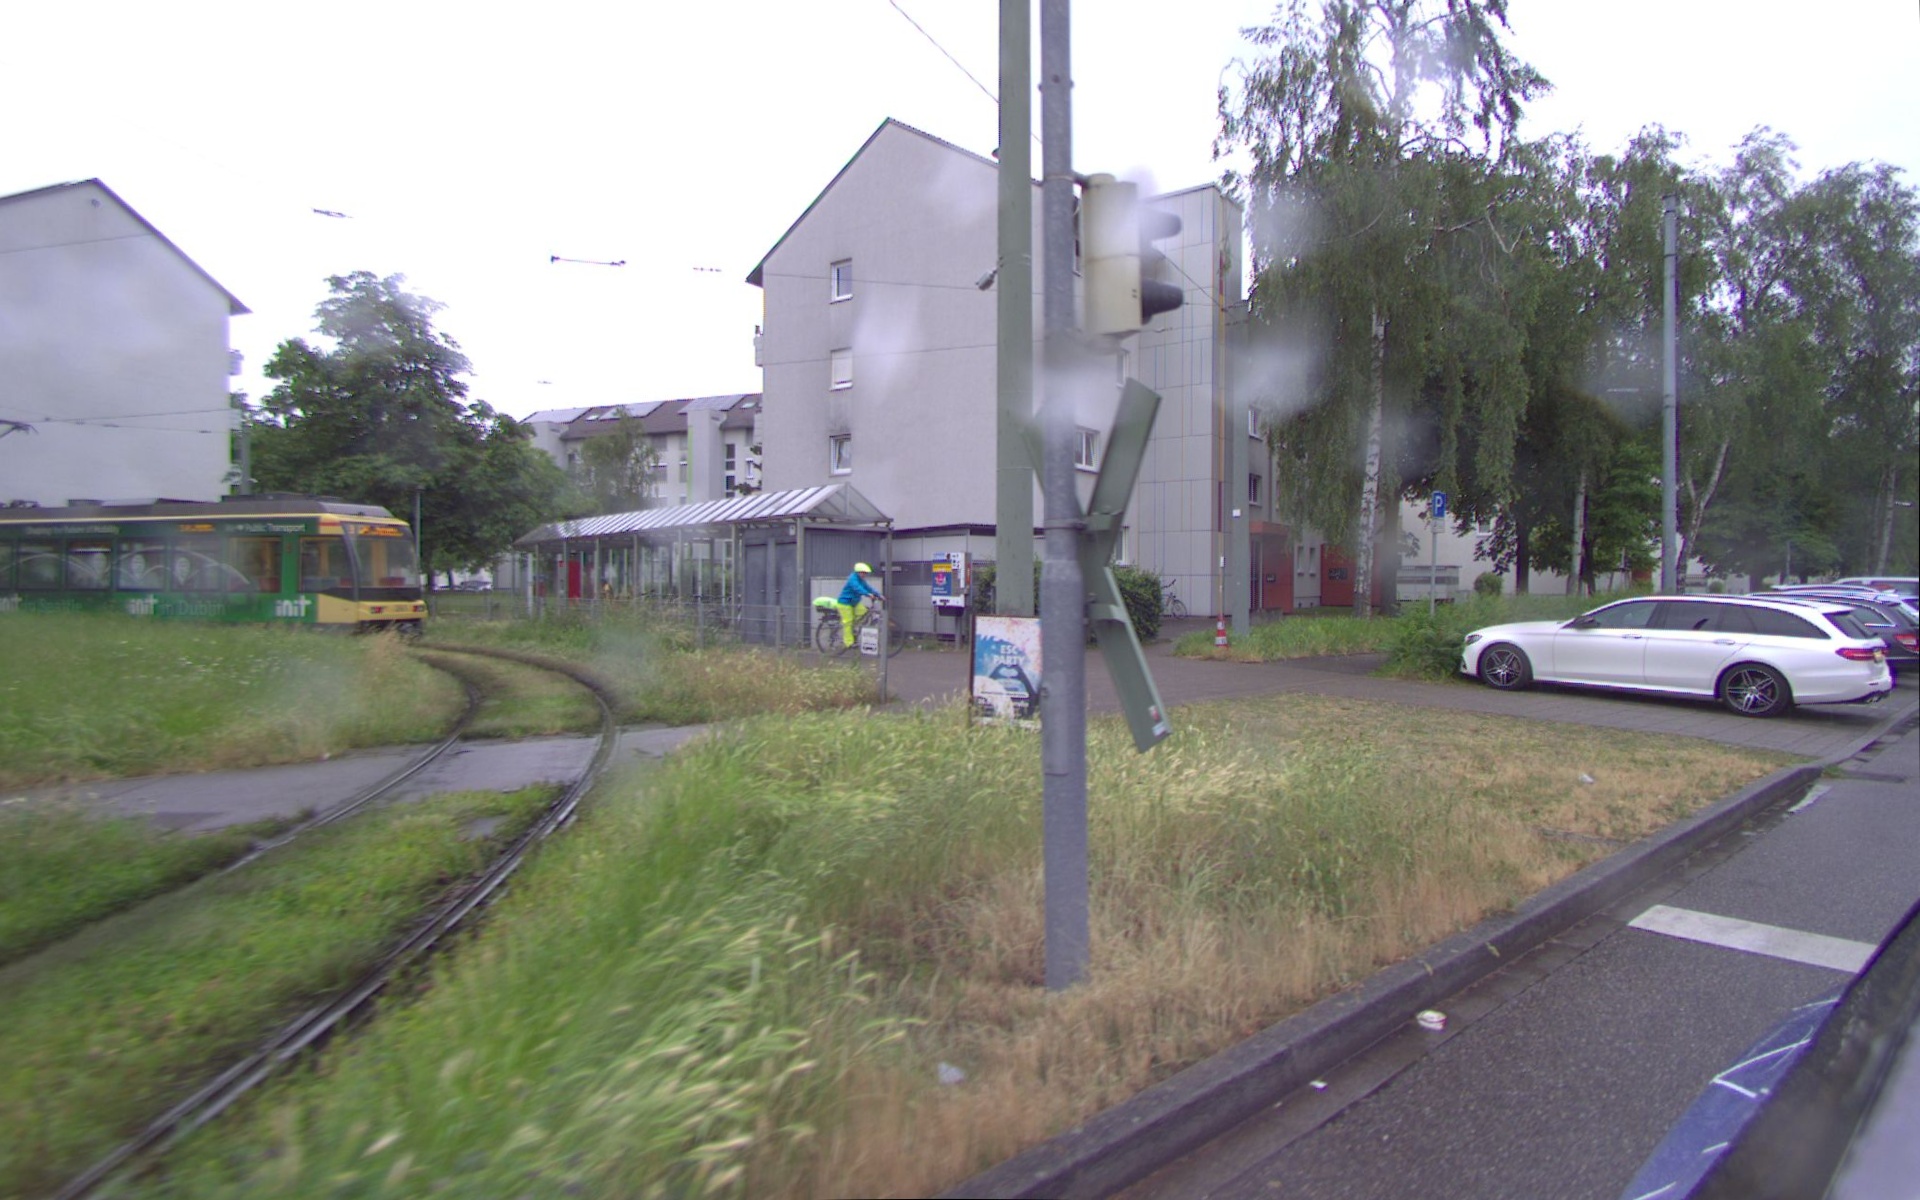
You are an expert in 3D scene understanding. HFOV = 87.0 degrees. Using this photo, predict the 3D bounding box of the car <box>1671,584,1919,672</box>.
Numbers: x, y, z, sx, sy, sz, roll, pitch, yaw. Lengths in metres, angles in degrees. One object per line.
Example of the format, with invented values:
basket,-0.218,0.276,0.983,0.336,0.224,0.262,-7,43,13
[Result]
car,16.232,0.506,19.336,1.692,1.505,3.995,-1,-1,-39

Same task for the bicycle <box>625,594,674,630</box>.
bicycle,-8.549,0.315,27.882,1.215,0.959,0.377,-1,-1,-38

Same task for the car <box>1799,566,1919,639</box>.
car,27.517,0.071,29.548,1.694,2.088,4.434,-1,-1,-43

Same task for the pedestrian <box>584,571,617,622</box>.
pedestrian,-11.472,-0.122,32.313,0.776,1.593,0.635,-1,-1,-42

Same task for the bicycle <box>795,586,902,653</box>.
bicycle,-1.964,0.325,17.827,1.730,1.144,0.724,0,-1,18

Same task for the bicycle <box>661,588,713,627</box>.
bicycle,-6.986,0.194,25.922,1.215,0.959,0.377,-1,-1,-38

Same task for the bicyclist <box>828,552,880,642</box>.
bicyclist,-1.852,-0.057,17.785,0.689,1.536,0.721,0,-1,17

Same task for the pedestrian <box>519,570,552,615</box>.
pedestrian,-18.634,-0.326,44.463,1.165,1.908,1.056,-1,-1,-13

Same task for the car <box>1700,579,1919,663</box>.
car,18.092,0.423,21.089,1.692,1.606,3.995,-1,-1,-39

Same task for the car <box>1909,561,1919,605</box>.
car,47.125,-0.867,46.897,1.694,2.088,4.434,-1,-1,-43

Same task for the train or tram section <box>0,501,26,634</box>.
train or tram section,-33.470,-0.883,27.712,14.480,3.635,2.710,0,-1,6

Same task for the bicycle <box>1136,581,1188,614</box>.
bicycle,6.093,-0.076,30.524,1.467,0.964,0.526,0,0,36

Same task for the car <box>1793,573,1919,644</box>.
car,25.569,0.221,27.355,1.692,1.869,4.440,-1,-1,-39

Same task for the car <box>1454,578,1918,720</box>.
car,9.719,0.505,13.944,1.964,1.476,4.838,0,3,-39

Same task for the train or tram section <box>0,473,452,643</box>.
train or tram section,-19.505,-0.884,25.005,14.530,3.635,2.701,0,-1,16

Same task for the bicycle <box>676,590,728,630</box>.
bicycle,-6.480,0.248,25.417,1.215,0.959,0.377,-1,-1,-38

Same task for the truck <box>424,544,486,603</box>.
truck,-33.107,-1.671,66.192,3.139,3.518,7.153,-1,-1,-31

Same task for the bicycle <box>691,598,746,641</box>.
bicycle,-5.669,0.457,23.791,1.215,0.968,0.377,-1,-1,-38

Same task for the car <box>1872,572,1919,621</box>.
car,39.867,-0.138,40.719,1.866,1.968,4.541,0,0,-41

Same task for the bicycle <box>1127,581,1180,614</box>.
bicycle,5.736,-0.069,30.032,1.467,0.964,0.526,0,0,36

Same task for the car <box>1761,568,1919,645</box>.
car,23.648,0.163,26.075,1.692,1.869,4.440,-1,-1,-39

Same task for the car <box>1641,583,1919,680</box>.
car,14.416,0.506,17.552,1.692,1.505,3.995,-1,-1,-39

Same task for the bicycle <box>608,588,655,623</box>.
bicycle,-9.418,0.151,29.058,0.414,0.959,1.292,-2,-1,33

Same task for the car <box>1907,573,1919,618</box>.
car,44.175,-0.233,43.780,1.866,1.968,4.541,0,0,-41
